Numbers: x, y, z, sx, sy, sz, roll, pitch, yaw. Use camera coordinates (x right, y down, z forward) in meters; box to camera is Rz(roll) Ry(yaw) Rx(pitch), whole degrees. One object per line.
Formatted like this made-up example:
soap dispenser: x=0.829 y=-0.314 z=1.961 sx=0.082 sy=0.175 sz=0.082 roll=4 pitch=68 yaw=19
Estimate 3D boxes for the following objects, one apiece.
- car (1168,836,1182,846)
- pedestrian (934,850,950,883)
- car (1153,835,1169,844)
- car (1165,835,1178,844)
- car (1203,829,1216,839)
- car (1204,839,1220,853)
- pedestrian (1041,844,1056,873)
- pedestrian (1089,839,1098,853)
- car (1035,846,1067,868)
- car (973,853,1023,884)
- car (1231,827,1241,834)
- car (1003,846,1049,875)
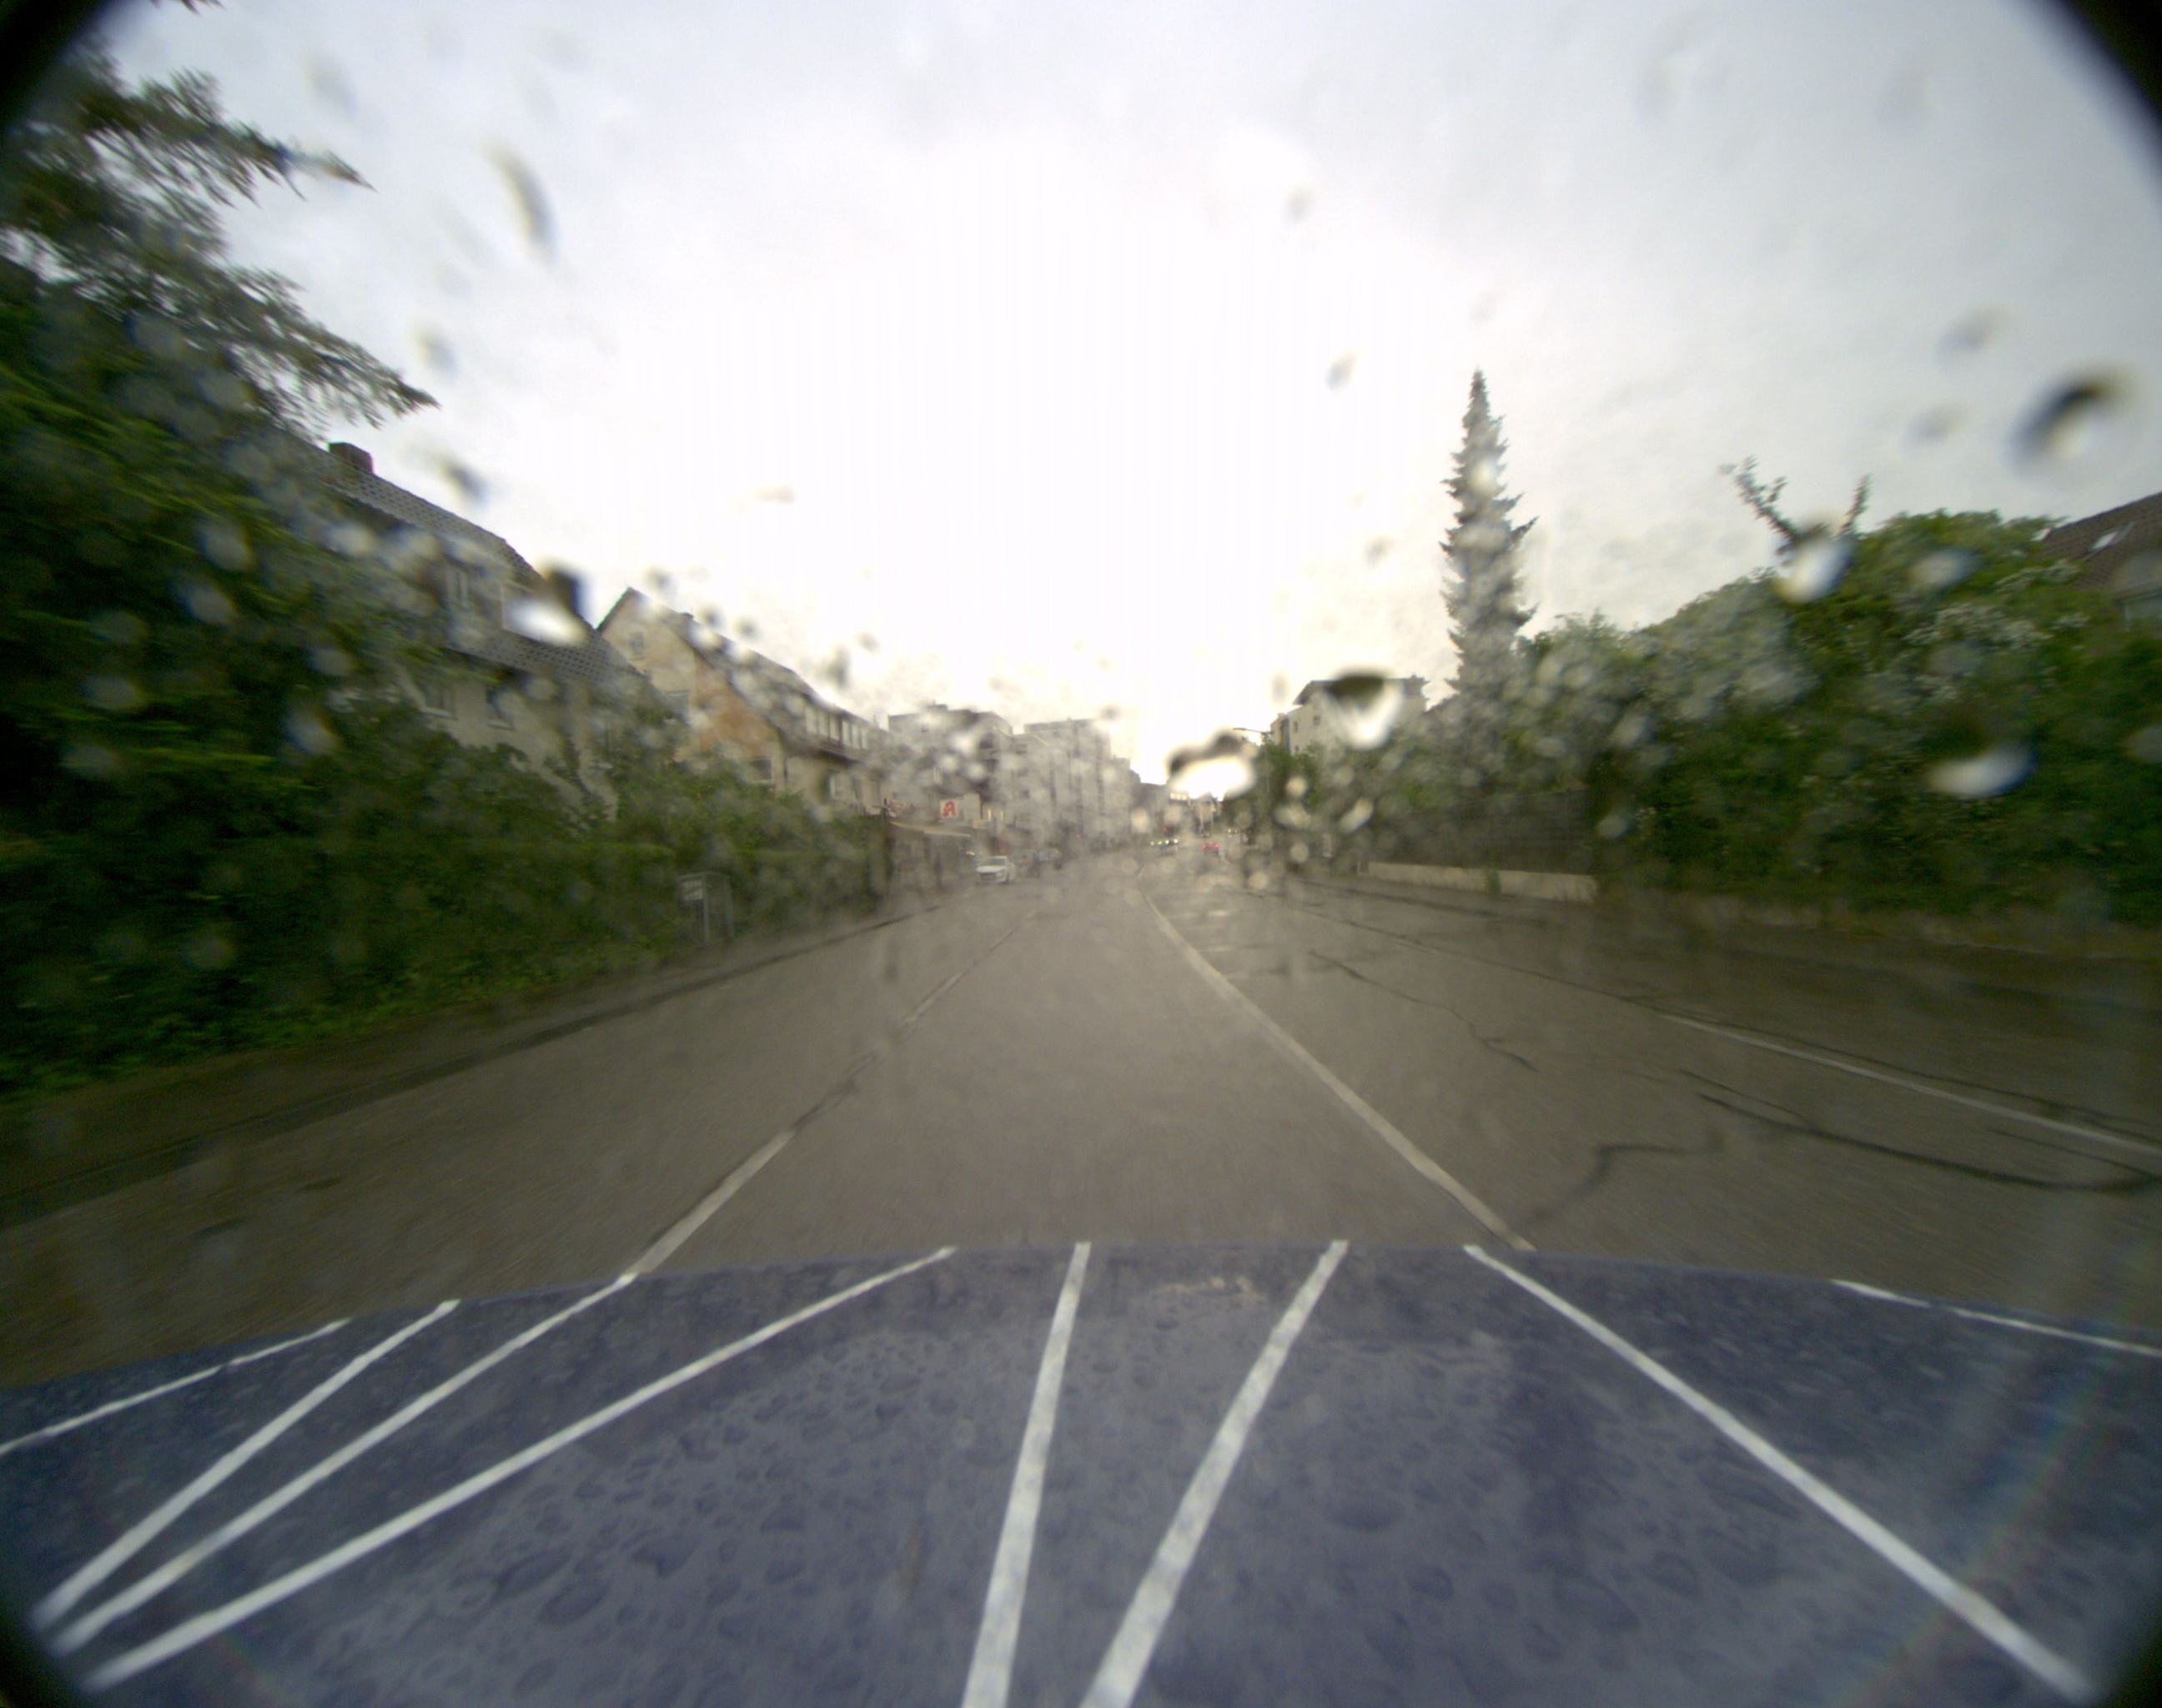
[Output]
car: x=18.165 y=-2.524 z=147.035 sx=1.896 sy=1.536 sz=4.024 roll=-4 pitch=1 yaw=17
pedestrian: x=-7.051 y=0.630 z=38.546 sx=0.552 sy=1.669 sz=0.515 roll=-4 pitch=2 yaw=-32
car: x=13.962 y=-2.508 z=132.735 sx=1.739 sy=1.478 sz=4.153 roll=-2 pitch=2 yaw=19
car: x=16.749 y=-2.627 z=139.993 sx=1.751 sy=1.470 sz=4.003 roll=-4 pitch=2 yaw=15
car: x=30.481 y=-4.669 z=180.311 sx=1.996 sy=2.002 sz=4.004 roll=-7 pitch=1 yaw=21
car: x=15.105 y=-0.986 z=87.478 sx=1.778 sy=1.498 sz=4.106 roll=0 pitch=2 yaw=12
pedestrian: x=-2.125 y=0.308 z=49.836 sx=0.622 sy=1.880 sz=0.648 roll=-2 pitch=2 yaw=41
pedestrian: x=1.524 y=-1.042 z=94.571 sx=0.667 sy=1.693 sz=0.948 roll=-3 pitch=2 yaw=29
car: x=-2.430 y=0.192 z=63.160 sx=1.878 sy=1.634 sz=4.793 roll=-1 pitch=2 yaw=6
car: x=-4.389 y=0.753 z=40.581 sx=1.819 sy=1.440 sz=4.204 roll=-1 pitch=1 yaw=5
car: x=39.798 y=-6.143 z=194.853 sx=1.826 sy=1.677 sz=4.005 roll=-2 pitch=2 yaw=21
car: x=-3.562 y=0.369 z=50.085 sx=2.040 sy=1.686 sz=4.963 roll=-1 pitch=2 yaw=7
